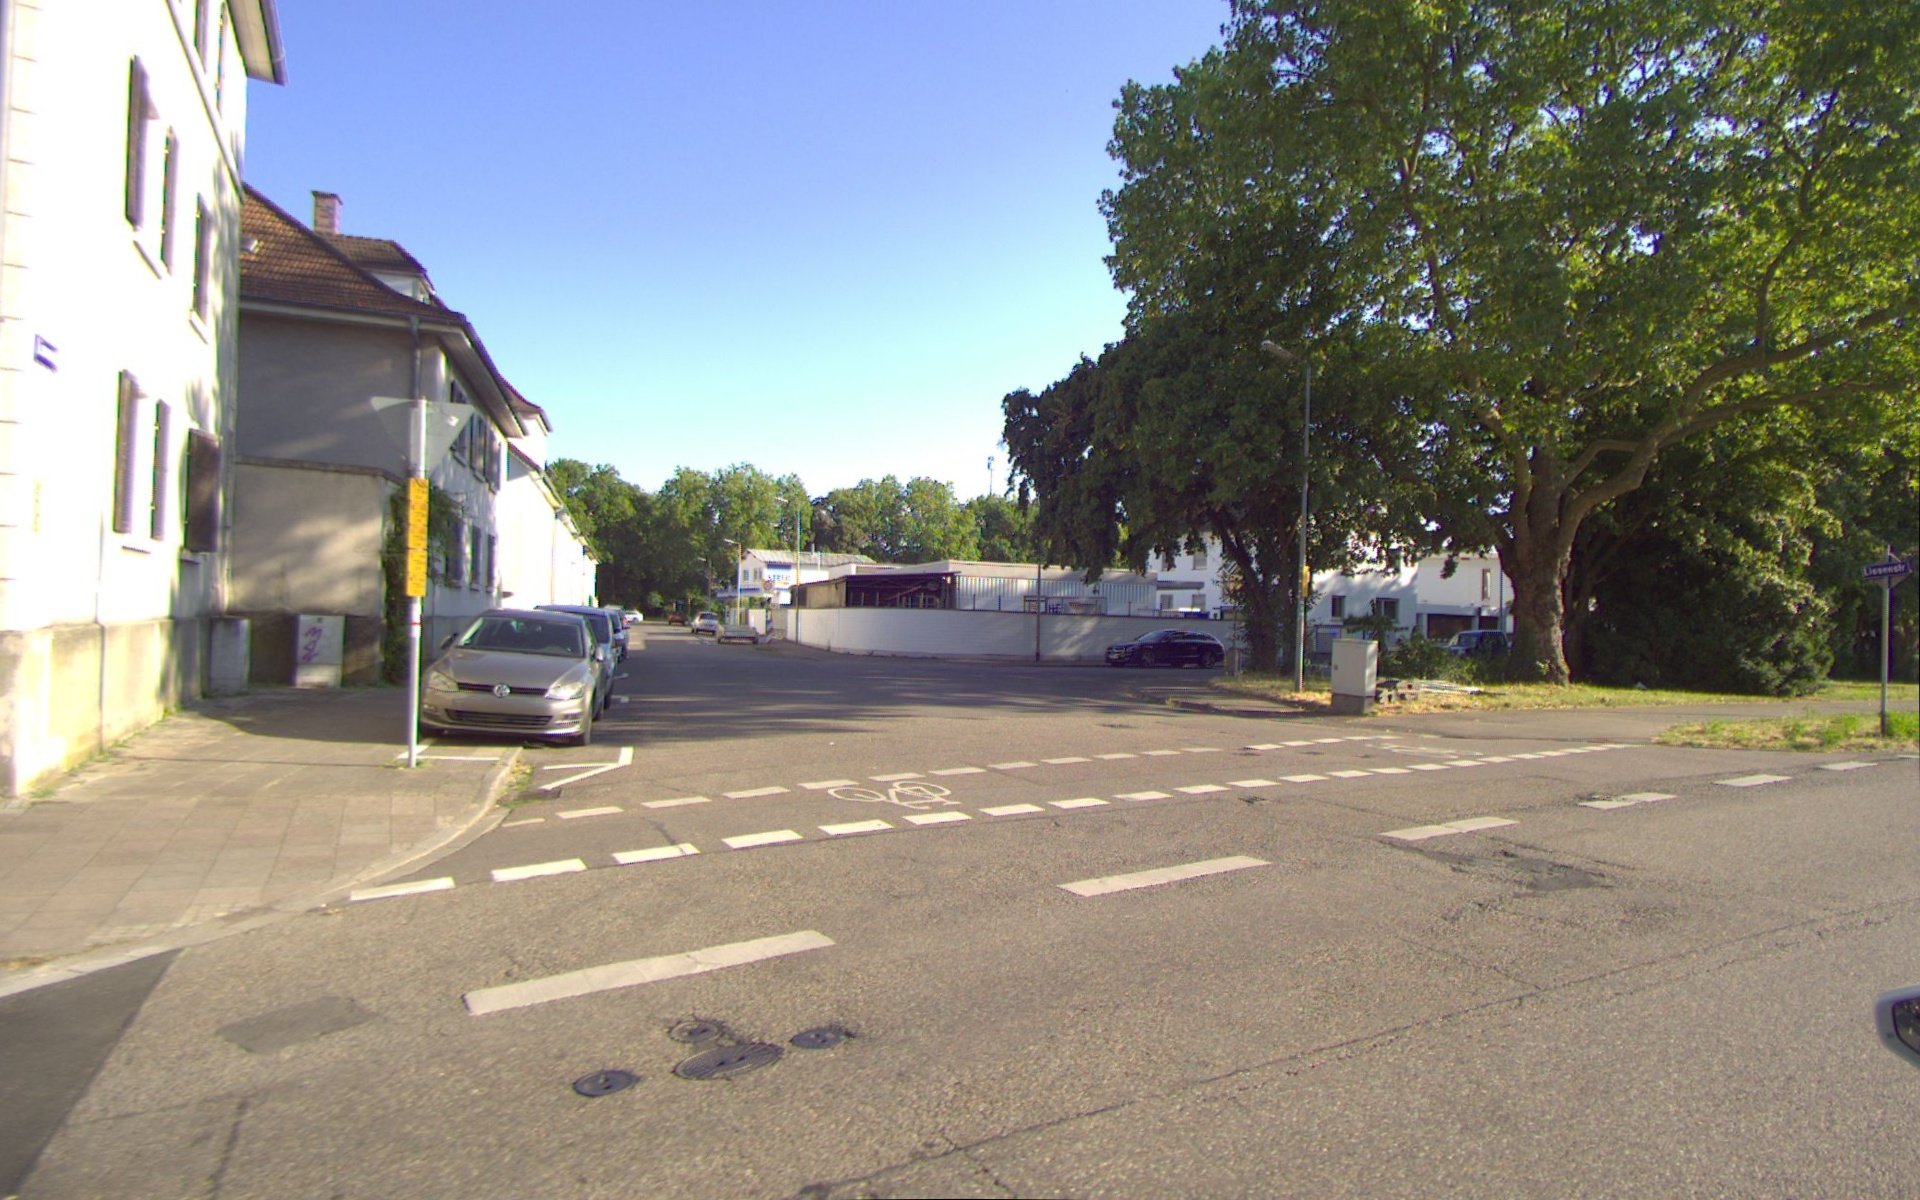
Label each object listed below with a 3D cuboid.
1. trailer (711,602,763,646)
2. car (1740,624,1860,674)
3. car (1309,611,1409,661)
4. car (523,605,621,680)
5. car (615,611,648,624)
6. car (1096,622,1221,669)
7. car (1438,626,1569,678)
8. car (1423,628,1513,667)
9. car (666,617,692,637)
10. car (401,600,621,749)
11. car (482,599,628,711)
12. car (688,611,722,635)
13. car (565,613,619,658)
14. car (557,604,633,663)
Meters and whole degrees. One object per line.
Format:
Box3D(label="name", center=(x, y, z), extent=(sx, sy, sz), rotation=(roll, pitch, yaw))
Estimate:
Box3D(label="trailer", center=(-11.051, 1.170, 49.592), extent=(2.142, 2.040, 3.652), rotation=(2, -1, -18))
Box3D(label="car", center=(39.014, 2.222, 46.711), extent=(1.891, 2.072, 3.956), rotation=(0, 1, -38))
Box3D(label="car", center=(19.751, 1.748, 49.889), extent=(1.976, 2.319, 4.296), rotation=(2, -1, -29))
Box3D(label="car", center=(-8.924, 0.920, 23.357), extent=(1.835, 1.582, 3.985), rotation=(1, -1, -17))
Box3D(label="car", center=(-42.406, 2.245, 129.913), extent=(3.935, 1.483, 1.858), rotation=(3, 0, -17))
Box3D(label="car", center=(7.230, 1.642, 36.497), extent=(4.309, 1.582, 1.849), rotation=(2, -1, -31))
Box3D(label="car", center=(20.168, 1.899, 37.413), extent=(1.708, 1.706, 3.965), rotation=(3, -2, -32))
Box3D(label="car", center=(23.878, 2.257, 47.186), extent=(4.129, 1.764, 1.884), rotation=(2, -3, -32))
Box3D(label="car", center=(-30.416, 2.894, 108.642), extent=(1.974, 2.040, 3.973), rotation=(2, -1, -27))
Box3D(label="car", center=(-5.264, 0.811, 12.312), extent=(1.884, 1.436, 3.985), rotation=(5, -2, -17))
Box3D(label="car", center=(-6.611, 0.848, 16.786), extent=(1.835, 1.581, 3.985), rotation=(3, -1, -17))
Box3D(label="car", center=(-17.632, 1.586, 69.444), extent=(1.837, 1.582, 3.981), rotation=(2, -1, -20))
Box3D(label="car", center=(-15.181, 1.424, 41.607), extent=(1.835, 1.582, 3.984), rotation=(2, 1, -17))
Box3D(label="car", center=(-10.747, 0.990, 29.825), extent=(1.835, 1.581, 4.662), rotation=(2, -2, -17))
